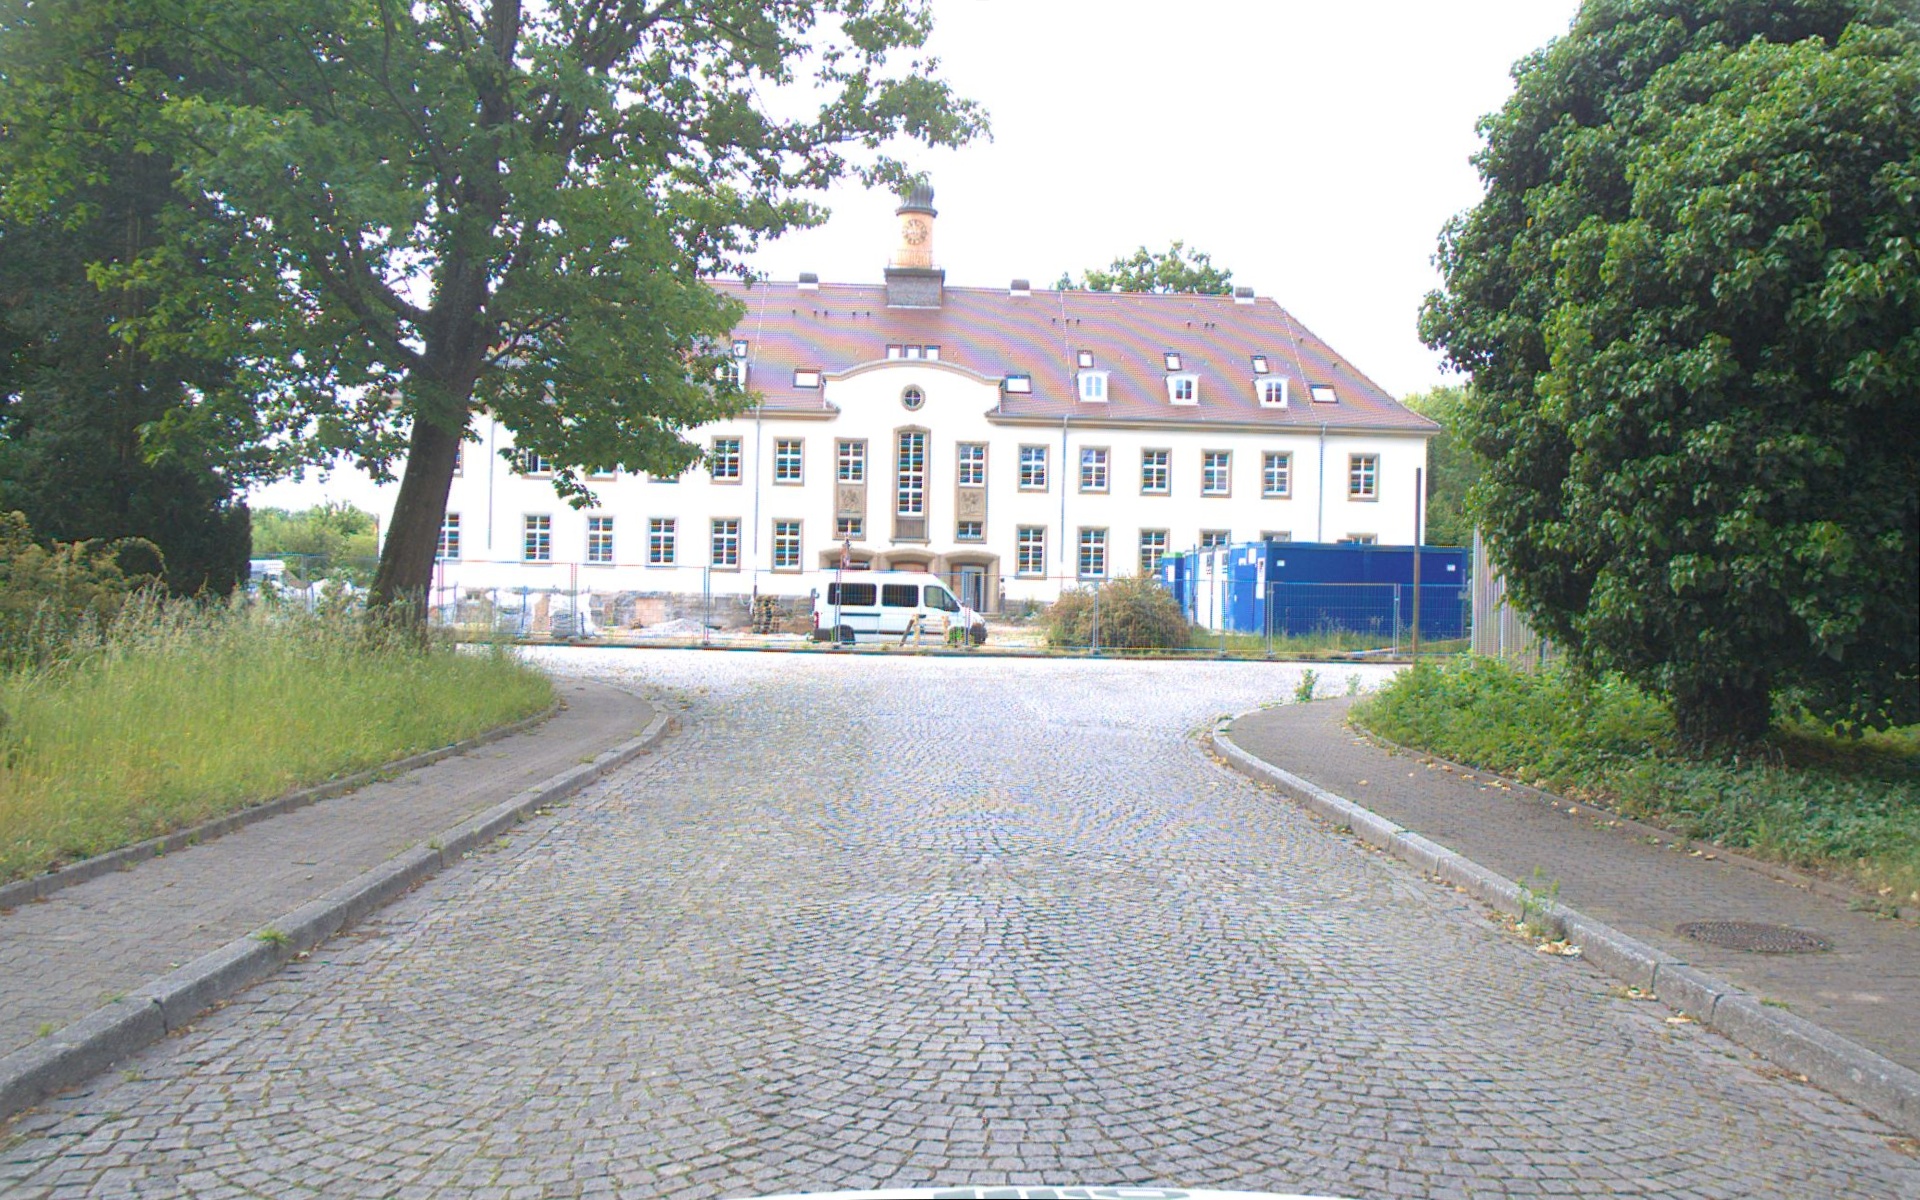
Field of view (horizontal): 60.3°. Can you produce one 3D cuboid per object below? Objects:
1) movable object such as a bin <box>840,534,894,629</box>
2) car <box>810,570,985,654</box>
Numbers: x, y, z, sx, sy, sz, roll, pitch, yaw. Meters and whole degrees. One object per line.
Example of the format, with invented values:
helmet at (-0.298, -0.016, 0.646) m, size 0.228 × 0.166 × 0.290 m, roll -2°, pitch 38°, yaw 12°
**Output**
movable object such as a bin at (-3.958, -0.748, 70.017) m, size 1.955 × 3.837 × 5.311 m, roll 1°, pitch 0°, yaw -6°
car at (-1.859, 0.368, 50.049) m, size 5.156 × 2.385 × 1.909 m, roll 1°, pitch 0°, yaw -1°
